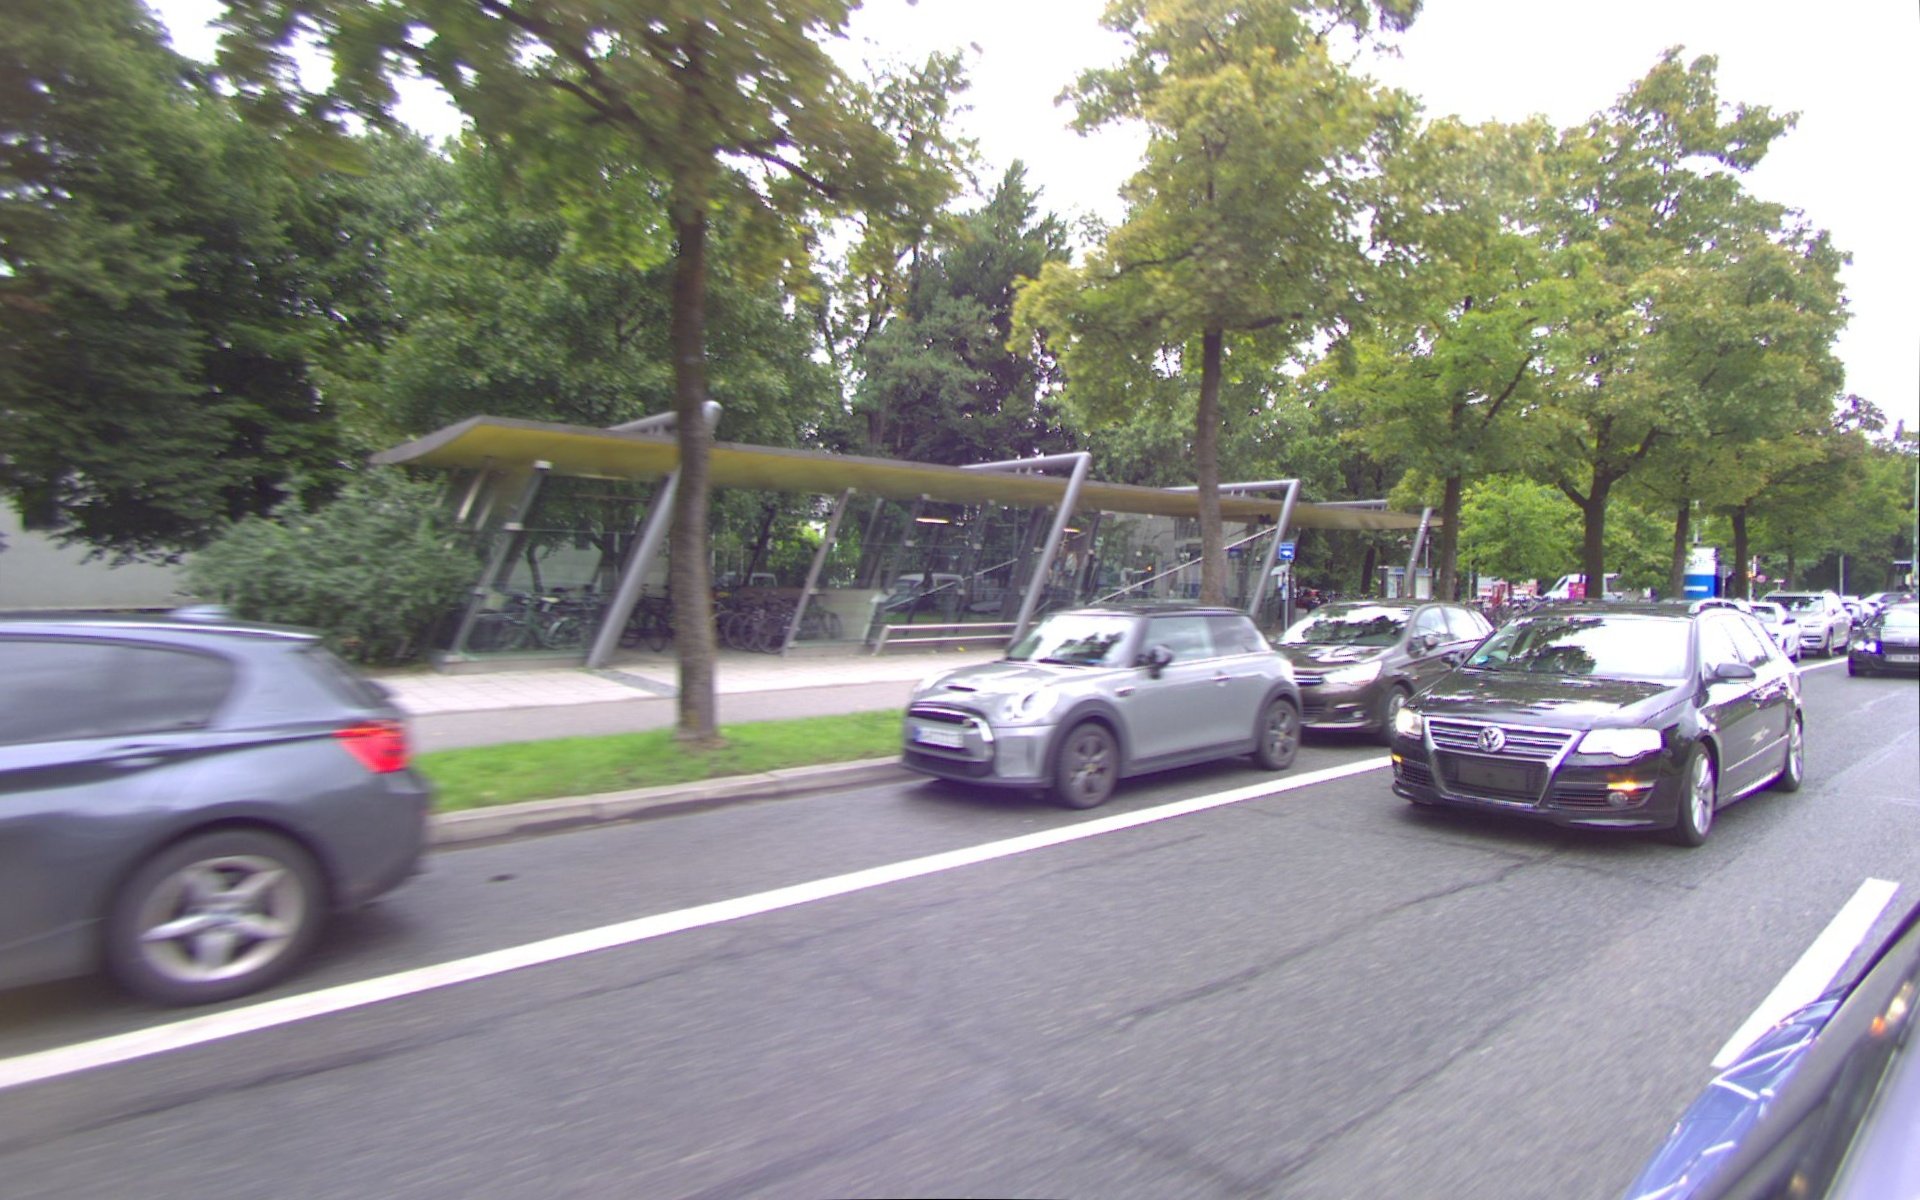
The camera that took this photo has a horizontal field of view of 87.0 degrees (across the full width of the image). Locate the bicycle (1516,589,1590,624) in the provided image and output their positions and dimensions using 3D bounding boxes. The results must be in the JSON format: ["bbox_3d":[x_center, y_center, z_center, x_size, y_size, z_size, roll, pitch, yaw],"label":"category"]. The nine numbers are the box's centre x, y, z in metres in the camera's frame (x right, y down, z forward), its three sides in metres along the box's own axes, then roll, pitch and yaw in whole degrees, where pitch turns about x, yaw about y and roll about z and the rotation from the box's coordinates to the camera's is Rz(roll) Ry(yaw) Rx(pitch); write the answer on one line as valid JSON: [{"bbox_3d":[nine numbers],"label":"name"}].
[{"bbox_3d":[22.400,0.226,38.276,0.520,1.171,2.344,1,3,-40],"label":"bicycle"}]

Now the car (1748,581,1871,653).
[{"bbox_3d":[22.734,0.413,27.022,4.819,1.746,1.750,0,0,-41],"label":"car"}]

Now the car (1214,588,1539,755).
[{"bbox_3d":[4.822,0.650,11.440,4.149,1.527,1.721,0,1,-41],"label":"car"}]

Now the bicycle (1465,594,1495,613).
[{"bbox_3d":[30.902,0.225,60.151,2.072,1.108,0.610,0,1,-31],"label":"bicycle"}]

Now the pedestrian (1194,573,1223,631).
[{"bbox_3d":[6.742,0.045,27.494,0.575,1.532,0.687,1,0,31],"label":"pedestrian"}]

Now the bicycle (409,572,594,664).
[{"bbox_3d":[-6.952,0.244,15.459,2.506,1.296,0.646,0,1,-41],"label":"bicycle"}]

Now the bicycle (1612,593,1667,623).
[{"bbox_3d":[28.609,0.321,42.609,0.556,1.156,1.814,0,3,-31],"label":"bicycle"}]

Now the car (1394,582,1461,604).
[{"bbox_3d":[32.592,-0.524,70.585,1.600,1.472,3.942,0,1,-43],"label":"car"}]

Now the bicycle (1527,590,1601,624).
[{"bbox_3d":[23.231,0.254,38.969,0.520,1.171,2.344,1,3,-40],"label":"bicycle"}]

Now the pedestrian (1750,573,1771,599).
[{"bbox_3d":[48.494,-0.836,61.317,0.722,1.558,0.694,0,1,-21],"label":"pedestrian"}]

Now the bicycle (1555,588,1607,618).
[{"bbox_3d":[28.105,0.120,45.824,1.936,1.227,0.559,3,3,39],"label":"bicycle"}]

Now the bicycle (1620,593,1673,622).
[{"bbox_3d":[29.614,0.316,43.655,1.803,1.156,0.559,3,3,39],"label":"bicycle"}]

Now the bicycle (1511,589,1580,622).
[{"bbox_3d":[23.991,0.213,41.526,0.574,1.171,2.344,1,3,-40],"label":"bicycle"}]

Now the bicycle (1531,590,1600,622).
[{"bbox_3d":[24.819,0.230,41.531,0.574,1.171,2.344,1,3,-40],"label":"bicycle"}]

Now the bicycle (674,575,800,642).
[{"bbox_3d":[-4.521,0.161,20.682,2.506,1.296,0.646,0,1,-41],"label":"bicycle"}]

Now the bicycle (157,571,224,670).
[{"bbox_3d":[-11.014,0.240,14.450,0.636,1.296,2.547,0,1,-40],"label":"bicycle"}]

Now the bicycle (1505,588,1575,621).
[{"bbox_3d":[23.298,0.170,40.708,0.574,1.171,2.344,1,3,-40],"label":"bicycle"}]

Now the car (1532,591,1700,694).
[{"bbox_3d":[11.236,0.624,17.228,4.023,1.554,1.543,0,0,-44],"label":"car"}]

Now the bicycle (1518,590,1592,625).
[{"bbox_3d":[22.730,0.273,38.723,0.520,1.171,2.344,1,3,-40],"label":"bicycle"}]

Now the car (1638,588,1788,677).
[{"bbox_3d":[15.028,0.563,20.116,4.326,1.553,1.722,0,1,-44],"label":"car"}]

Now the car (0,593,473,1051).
[{"bbox_3d":[-4.154,0.720,3.439,4.230,1.457,1.636,0,1,-42],"label":"car"}]

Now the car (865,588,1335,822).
[{"bbox_3d":[1.325,0.655,8.405,4.006,1.471,1.637,0,1,-41],"label":"car"}]

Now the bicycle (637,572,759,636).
[{"bbox_3d":[-5.576,0.065,21.691,2.506,1.296,0.646,0,1,-41],"label":"bicycle"}]

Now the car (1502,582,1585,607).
[{"bbox_3d":[37.580,-0.372,65.272,1.856,1.516,4.305,0,1,-43],"label":"car"}]

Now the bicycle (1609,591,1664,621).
[{"bbox_3d":[29.706,0.260,44.432,1.936,1.227,0.559,3,3,39],"label":"bicycle"}]

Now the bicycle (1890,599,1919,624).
[{"bbox_3d":[43.404,0.509,45.708,1.919,1.094,0.744,1,1,15],"label":"bicycle"}]

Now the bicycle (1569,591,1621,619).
[{"bbox_3d":[27.981,0.216,44.631,0.556,1.156,1.813,0,3,-35],"label":"bicycle"}]

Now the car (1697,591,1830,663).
[{"bbox_3d":[19.024,0.582,23.898,4.426,1.527,1.704,0,-1,-42],"label":"car"}]

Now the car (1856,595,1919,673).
[{"bbox_3d":[19.559,0.632,20.274,4.589,1.447,1.818,0,1,-41],"label":"car"}]

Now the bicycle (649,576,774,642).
[{"bbox_3d":[-5.148,0.162,21.132,2.506,1.296,0.646,0,1,-41],"label":"bicycle"}]

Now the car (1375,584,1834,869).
[{"bbox_3d":[4.982,0.641,7.497,4.592,1.493,1.749,0,1,-42],"label":"car"}]

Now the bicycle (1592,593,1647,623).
[{"bbox_3d":[27.545,0.315,42.320,0.556,1.156,1.813,0,3,-35],"label":"bicycle"}]

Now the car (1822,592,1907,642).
[{"bbox_3d":[30.997,0.537,34.644,4.306,1.567,1.715,0,1,-42],"label":"car"}]

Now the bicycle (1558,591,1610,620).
[{"bbox_3d":[27.102,0.219,43.973,0.557,1.156,1.811,0,3,-39],"label":"bicycle"}]
